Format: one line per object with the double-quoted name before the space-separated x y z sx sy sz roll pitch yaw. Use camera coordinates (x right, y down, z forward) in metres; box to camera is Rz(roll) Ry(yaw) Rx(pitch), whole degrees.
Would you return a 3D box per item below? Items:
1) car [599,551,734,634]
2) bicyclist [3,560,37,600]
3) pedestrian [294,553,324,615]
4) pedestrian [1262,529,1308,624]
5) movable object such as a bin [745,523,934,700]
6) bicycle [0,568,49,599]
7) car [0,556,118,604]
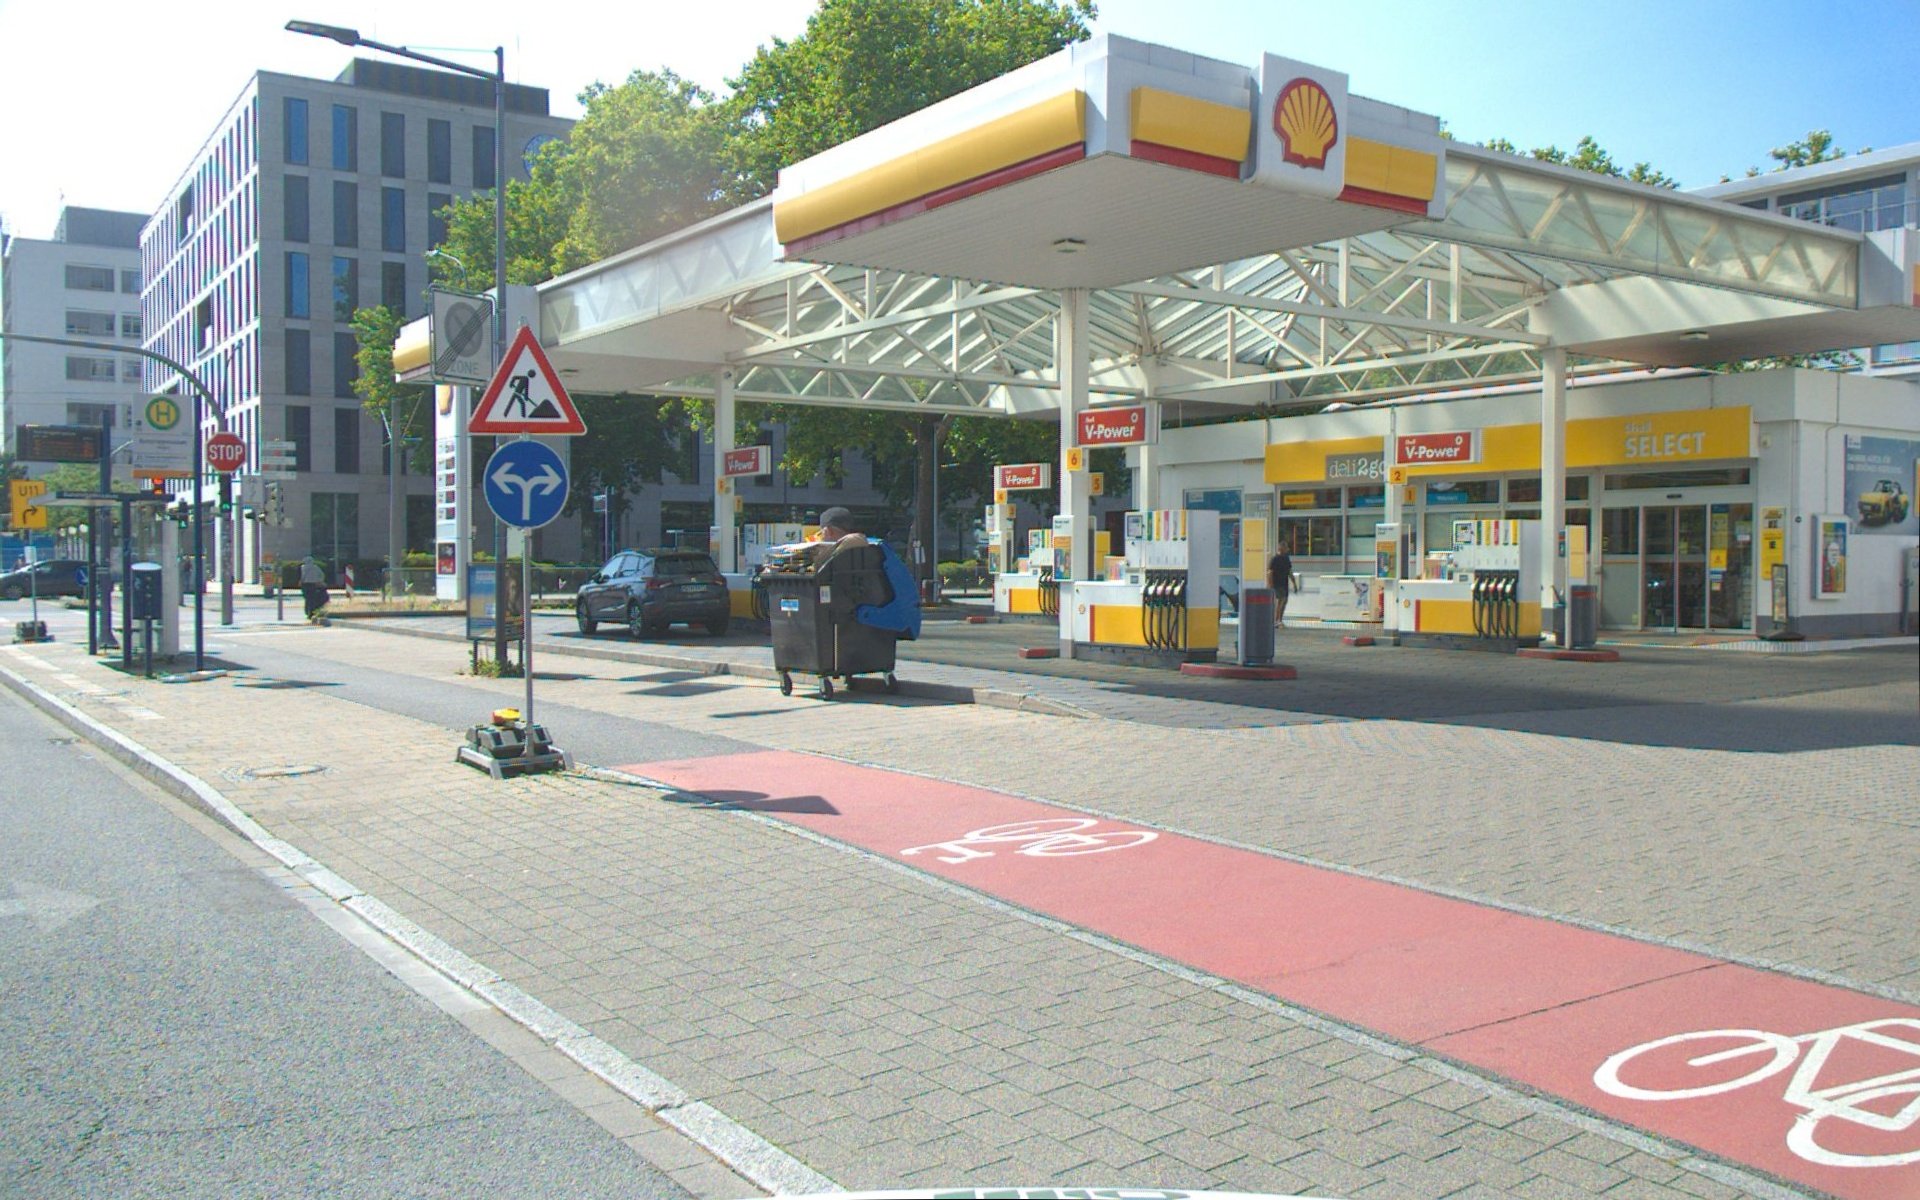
"car" -5.400 -0.160 30.151 1.628 1.422 3.615 -1 1 -24
"bicyclist" -39.962 -0.839 70.318 1.225 1.702 0.520 0 1 -27
"pedestrian" -16.503 -0.402 41.931 0.613 1.570 0.456 0 1 -36
"pedestrian" 6.446 -0.471 32.823 0.665 1.853 0.625 0 1 -28
"movable object such as a bin" -1.202 0.079 16.400 1.298 1.619 1.377 -4 3 -37
"bicycle" -39.977 -0.692 70.298 2.202 1.307 0.520 0 1 -27
"car" -33.143 -0.746 60.196 4.087 1.667 1.970 -1 2 -41
